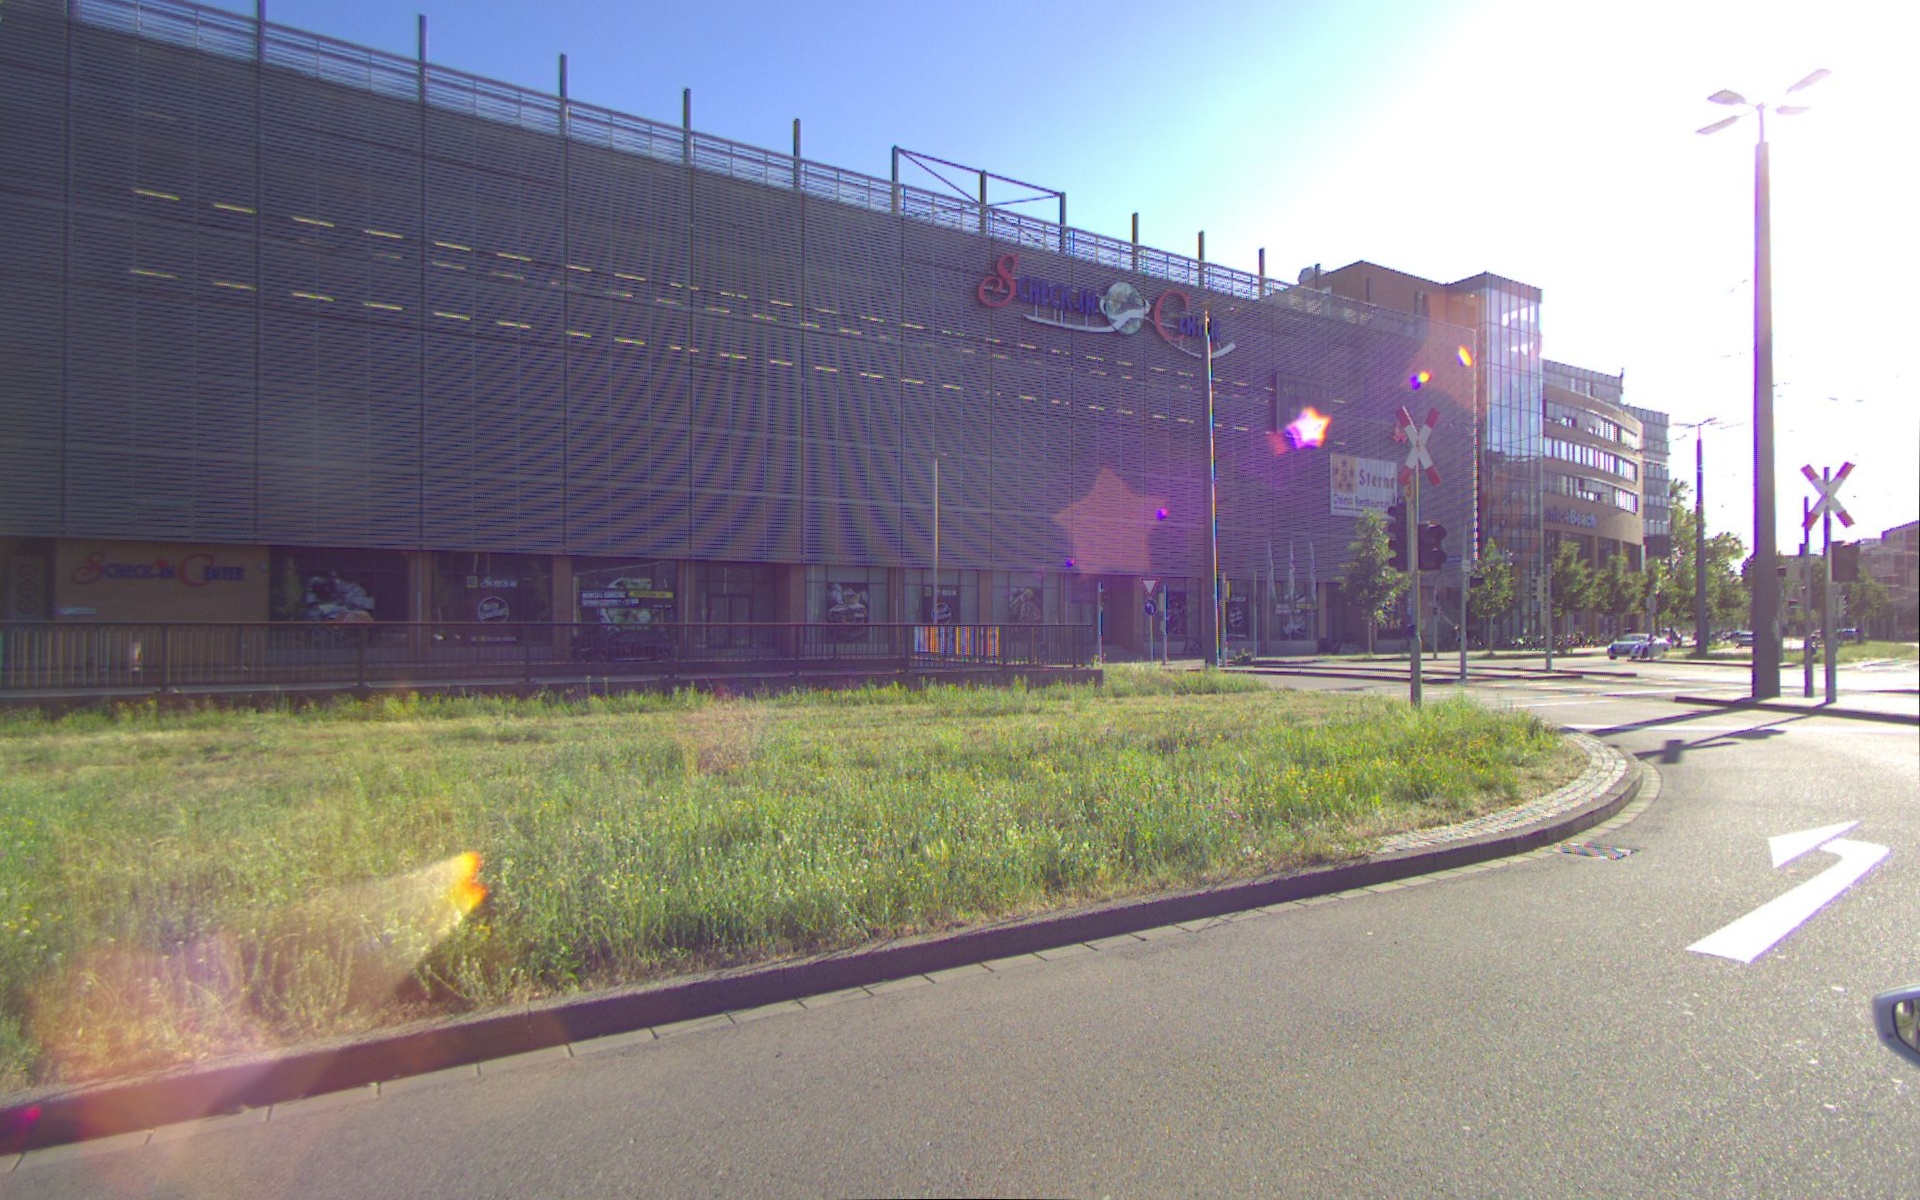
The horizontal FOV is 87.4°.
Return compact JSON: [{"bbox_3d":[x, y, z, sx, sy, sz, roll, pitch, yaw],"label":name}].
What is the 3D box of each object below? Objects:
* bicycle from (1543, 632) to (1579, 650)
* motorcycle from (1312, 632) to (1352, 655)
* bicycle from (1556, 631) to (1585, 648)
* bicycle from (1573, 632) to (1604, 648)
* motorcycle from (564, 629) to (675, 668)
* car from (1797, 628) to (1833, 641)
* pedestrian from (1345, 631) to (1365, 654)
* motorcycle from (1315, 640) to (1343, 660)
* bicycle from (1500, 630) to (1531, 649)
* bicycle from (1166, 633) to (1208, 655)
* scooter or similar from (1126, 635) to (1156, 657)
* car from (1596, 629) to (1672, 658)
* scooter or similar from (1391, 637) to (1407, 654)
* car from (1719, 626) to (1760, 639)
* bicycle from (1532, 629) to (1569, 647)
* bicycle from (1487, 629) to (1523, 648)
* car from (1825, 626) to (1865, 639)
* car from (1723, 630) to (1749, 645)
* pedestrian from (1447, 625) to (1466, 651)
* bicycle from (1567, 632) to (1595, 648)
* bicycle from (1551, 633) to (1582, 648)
[{"bbox_3d":[49.427,3.393,82.674,0.891,1.452,2.558,1,-3,-21],"label":"bicycle"},{"bbox_3d":[24.297,2.838,65.610,2.582,1.465,0.963,1,-1,-27],"label":"motorcycle"},{"bbox_3d":[54.950,3.576,90.464,0.707,1.452,2.242,1,-3,-21],"label":"bicycle"},{"bbox_3d":[57.592,3.663,92.036,0.777,1.452,2.417,1,-3,-21],"label":"bicycle"},{"bbox_3d":[-13.700,1.934,40.432,3.953,1.472,1.984,1,-2,-31],"label":"motorcycle"},{"bbox_3d":[109.610,4.458,128.738,4.354,1.661,1.987,1,-2,-27],"label":"car"},{"bbox_3d":[27.149,2.940,69.031,0.819,1.586,0.983,2,-3,-30],"label":"pedestrian"},{"bbox_3d":[23.425,3.175,63.731,1.872,1.255,0.672,2,-3,-31],"label":"motorcycle"},{"bbox_3d":[43.573,3.101,78.789,0.848,1.452,2.080,1,-3,-21],"label":"bicycle"},{"bbox_3d":[12.909,2.505,57.086,2.384,1.237,0.797,1,-1,-27],"label":"bicycle"},{"bbox_3d":[10.430,2.632,57.743,1.555,1.222,0.790,2,-3,-30],"label":"scooter or similar"},{"bbox_3d":[37.846,2.390,56.353,4.482,1.566,1.982,1,-2,-34],"label":"car"},{"bbox_3d":[30.356,3.158,69.530,1.138,1.124,0.419,2,-3,-30],"label":"scooter or similar"},{"bbox_3d":[106.167,4.431,136.898,3.919,1.728,2.001,0,-2,15],"label":"car"},{"bbox_3d":[47.715,3.074,81.190,0.891,1.452,2.558,1,-3,-21],"label":"bicycle"},{"bbox_3d":[42.537,2.979,78.375,1.060,1.452,2.366,1,-3,-21],"label":"bicycle"},{"bbox_3d":[122.378,4.507,138.912,4.333,1.661,1.996,1,-1,-11],"label":"car"},{"bbox_3d":[76.095,3.625,98.585,1.870,1.425,3.986,-2,-2,36],"label":"car"},{"bbox_3d":[35.706,2.731,72.242,0.894,1.848,0.823,2,-3,-29],"label":"pedestrian"},{"bbox_3d":[56.626,3.679,91.590,0.747,1.452,2.135,1,-3,-21],"label":"bicycle"},{"bbox_3d":[54.298,3.627,89.905,0.734,1.252,2.410,1,-3,-21],"label":"bicycle"}]
